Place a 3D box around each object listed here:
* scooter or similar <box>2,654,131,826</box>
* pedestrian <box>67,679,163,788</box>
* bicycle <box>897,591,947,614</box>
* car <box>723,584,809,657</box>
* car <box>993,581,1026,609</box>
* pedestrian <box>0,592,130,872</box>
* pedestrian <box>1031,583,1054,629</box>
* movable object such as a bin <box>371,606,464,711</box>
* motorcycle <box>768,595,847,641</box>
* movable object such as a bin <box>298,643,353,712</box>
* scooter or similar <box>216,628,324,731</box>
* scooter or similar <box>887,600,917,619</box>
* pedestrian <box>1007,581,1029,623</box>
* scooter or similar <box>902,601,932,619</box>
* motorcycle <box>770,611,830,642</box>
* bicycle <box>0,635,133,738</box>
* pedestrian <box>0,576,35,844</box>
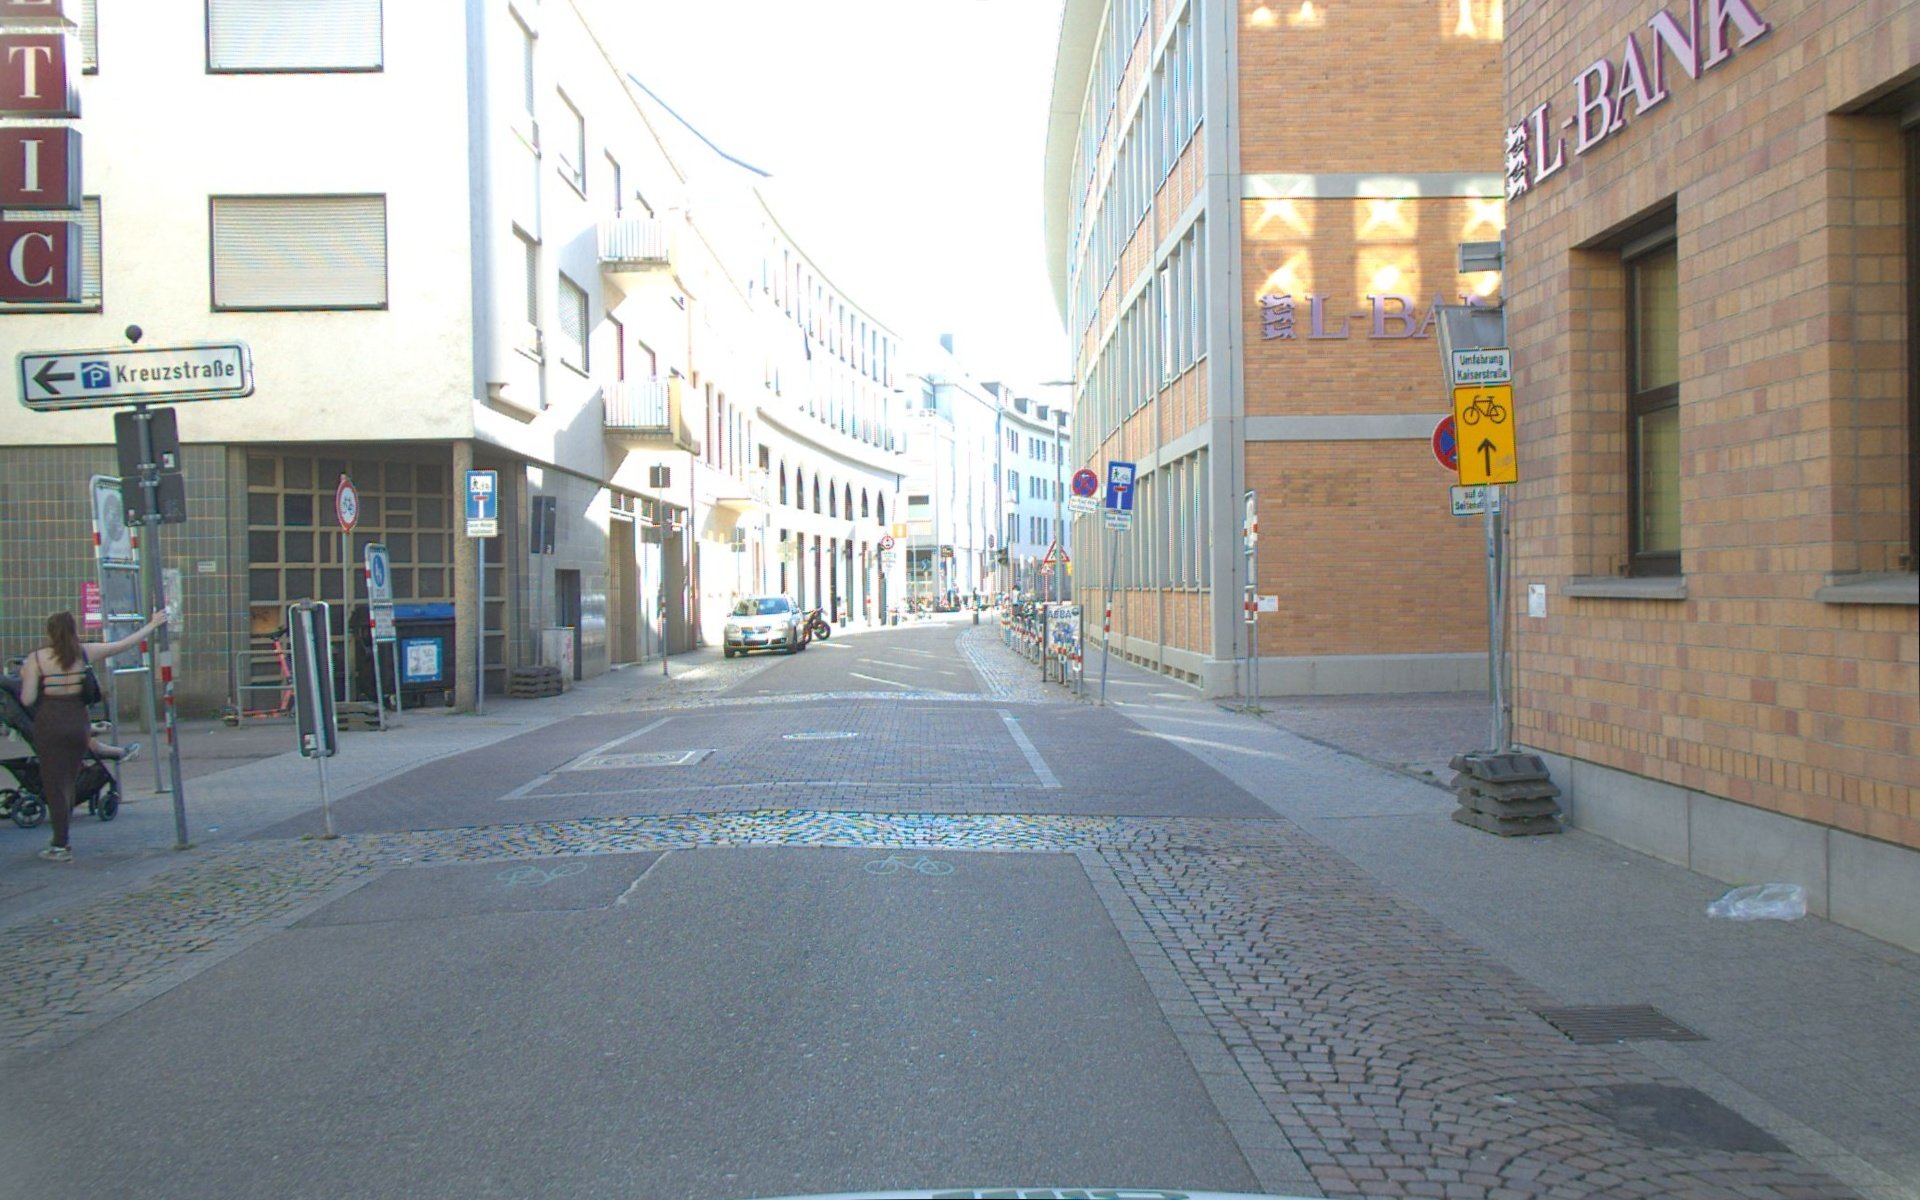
[{"bbox_3d":[-6.484,0.990,11.999,0.781,1.182,0.628,1,-1,-31],"label":"scooter or similar"},{"bbox_3d":[-6.203,0.965,12.133,0.576,0.727,0.640,-1,0,-32],"label":"pedestrian"},{"bbox_3d":[-2.330,0.175,101.381,3.022,1.378,0.702,1,-1,11],"label":"bicycle"},{"bbox_3d":[-4.738,0.466,40.795,1.701,1.634,3.532,-2,1,-1],"label":"car"},{"bbox_3d":[3.104,-0.324,103.244,1.700,1.634,3.535,-2,1,6],"label":"car"},{"bbox_3d":[-5.589,0.792,10.313,0.642,1.653,0.450,-1,3,-43],"label":"pedestrian"},{"bbox_3d":[3.450,0.250,68.962,0.653,1.901,0.753,1,-1,-32],"label":"pedestrian"},{"bbox_3d":[-7.698,0.813,23.459,0.869,1.444,0.929,0,-1,41],"label":"movable object such as a bin"},{"bbox_3d":[-4.777,0.560,51.928,2.342,1.340,0.862,-2,0,-2],"label":"motorcycle"},{"bbox_3d":[-8.771,1.061,22.864,0.516,0.917,0.534,0,-1,41],"label":"movable object such as a bin"},{"bbox_3d":[-8.765,1.003,21.029,1.134,1.228,0.480,-2,0,-2],"label":"scooter or similar"},{"bbox_3d":[-2.929,0.473,83.665,0.515,0.944,2.224,0,1,28],"label":"scooter or similar"},{"bbox_3d":[2.609,0.092,74.312,0.653,1.901,0.778,1,-1,-32],"label":"pedestrian"},{"bbox_3d":[-2.249,0.510,86.777,0.515,0.944,2.224,0,1,28],"label":"scooter or similar"},{"bbox_3d":[-4.644,0.768,48.108,1.655,0.874,0.595,1,-1,3],"label":"motorcycle"},{"bbox_3d":[-11.280,1.066,20.331,1.832,1.178,0.718,-2,0,0],"label":"bicycle"},{"bbox_3d":[-6.577,0.731,11.015,0.438,1.769,0.553,-1,0,21],"label":"pedestrian"}]
